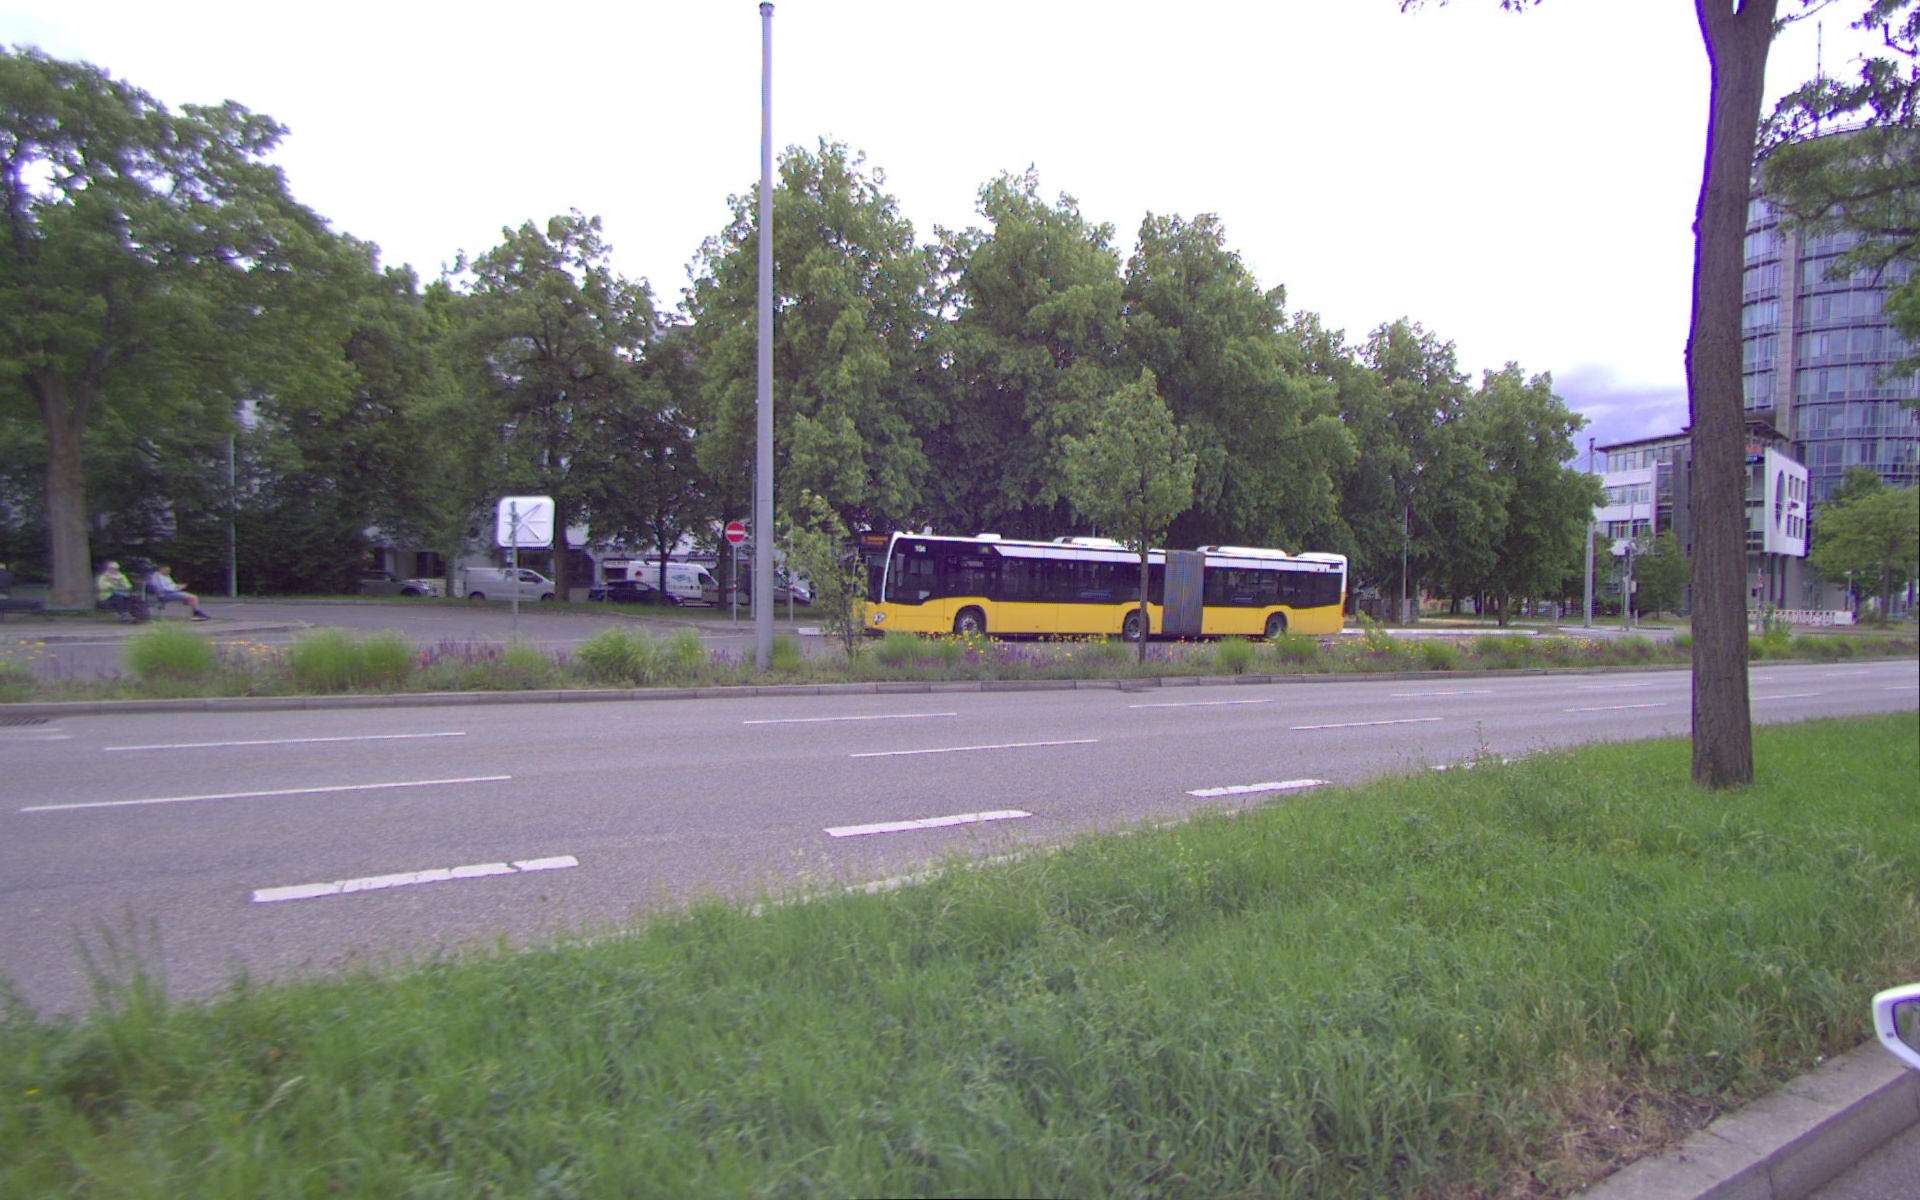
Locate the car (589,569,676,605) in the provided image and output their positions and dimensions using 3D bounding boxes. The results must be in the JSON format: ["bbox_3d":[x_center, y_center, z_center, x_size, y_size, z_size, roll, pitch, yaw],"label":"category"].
[{"bbox_3d":[-16.737,-0.636,51.470,4.160,1.706,1.992,1,1,-18],"label":"car"}]

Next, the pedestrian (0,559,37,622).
[{"bbox_3d":[-19.849,-0.204,20.784,0.843,1.271,0.894,2,1,30],"label":"pedestrian"}]

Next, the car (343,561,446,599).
[{"bbox_3d":[-27.132,-0.950,48.329,3.937,1.706,1.992,1,1,-18],"label":"car"}]

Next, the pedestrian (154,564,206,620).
[{"bbox_3d":[-18.190,-0.196,23.443,0.848,1.271,0.888,1,1,-31],"label":"pedestrian"}]

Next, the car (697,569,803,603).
[{"bbox_3d":[-11.084,-0.716,52.968,5.314,1.670,1.993,1,1,-16],"label":"car"}]

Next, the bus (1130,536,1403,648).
[{"bbox_3d":[10.819,-0.243,35.074,9.787,3.502,3.018,1,2,-28],"label":"bus"}]

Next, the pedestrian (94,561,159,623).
[{"bbox_3d":[-18.118,-0.179,21.838,0.844,1.307,0.893,2,1,35],"label":"pedestrian"}]

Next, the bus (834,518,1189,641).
[{"bbox_3d":[1.757,-0.472,30.079,10.607,3.205,3.070,1,1,-29],"label":"bus"}]

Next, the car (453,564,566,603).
[{"bbox_3d":[-22.210,-0.813,49.742,4.838,1.747,1.992,1,1,-18],"label":"car"}]
